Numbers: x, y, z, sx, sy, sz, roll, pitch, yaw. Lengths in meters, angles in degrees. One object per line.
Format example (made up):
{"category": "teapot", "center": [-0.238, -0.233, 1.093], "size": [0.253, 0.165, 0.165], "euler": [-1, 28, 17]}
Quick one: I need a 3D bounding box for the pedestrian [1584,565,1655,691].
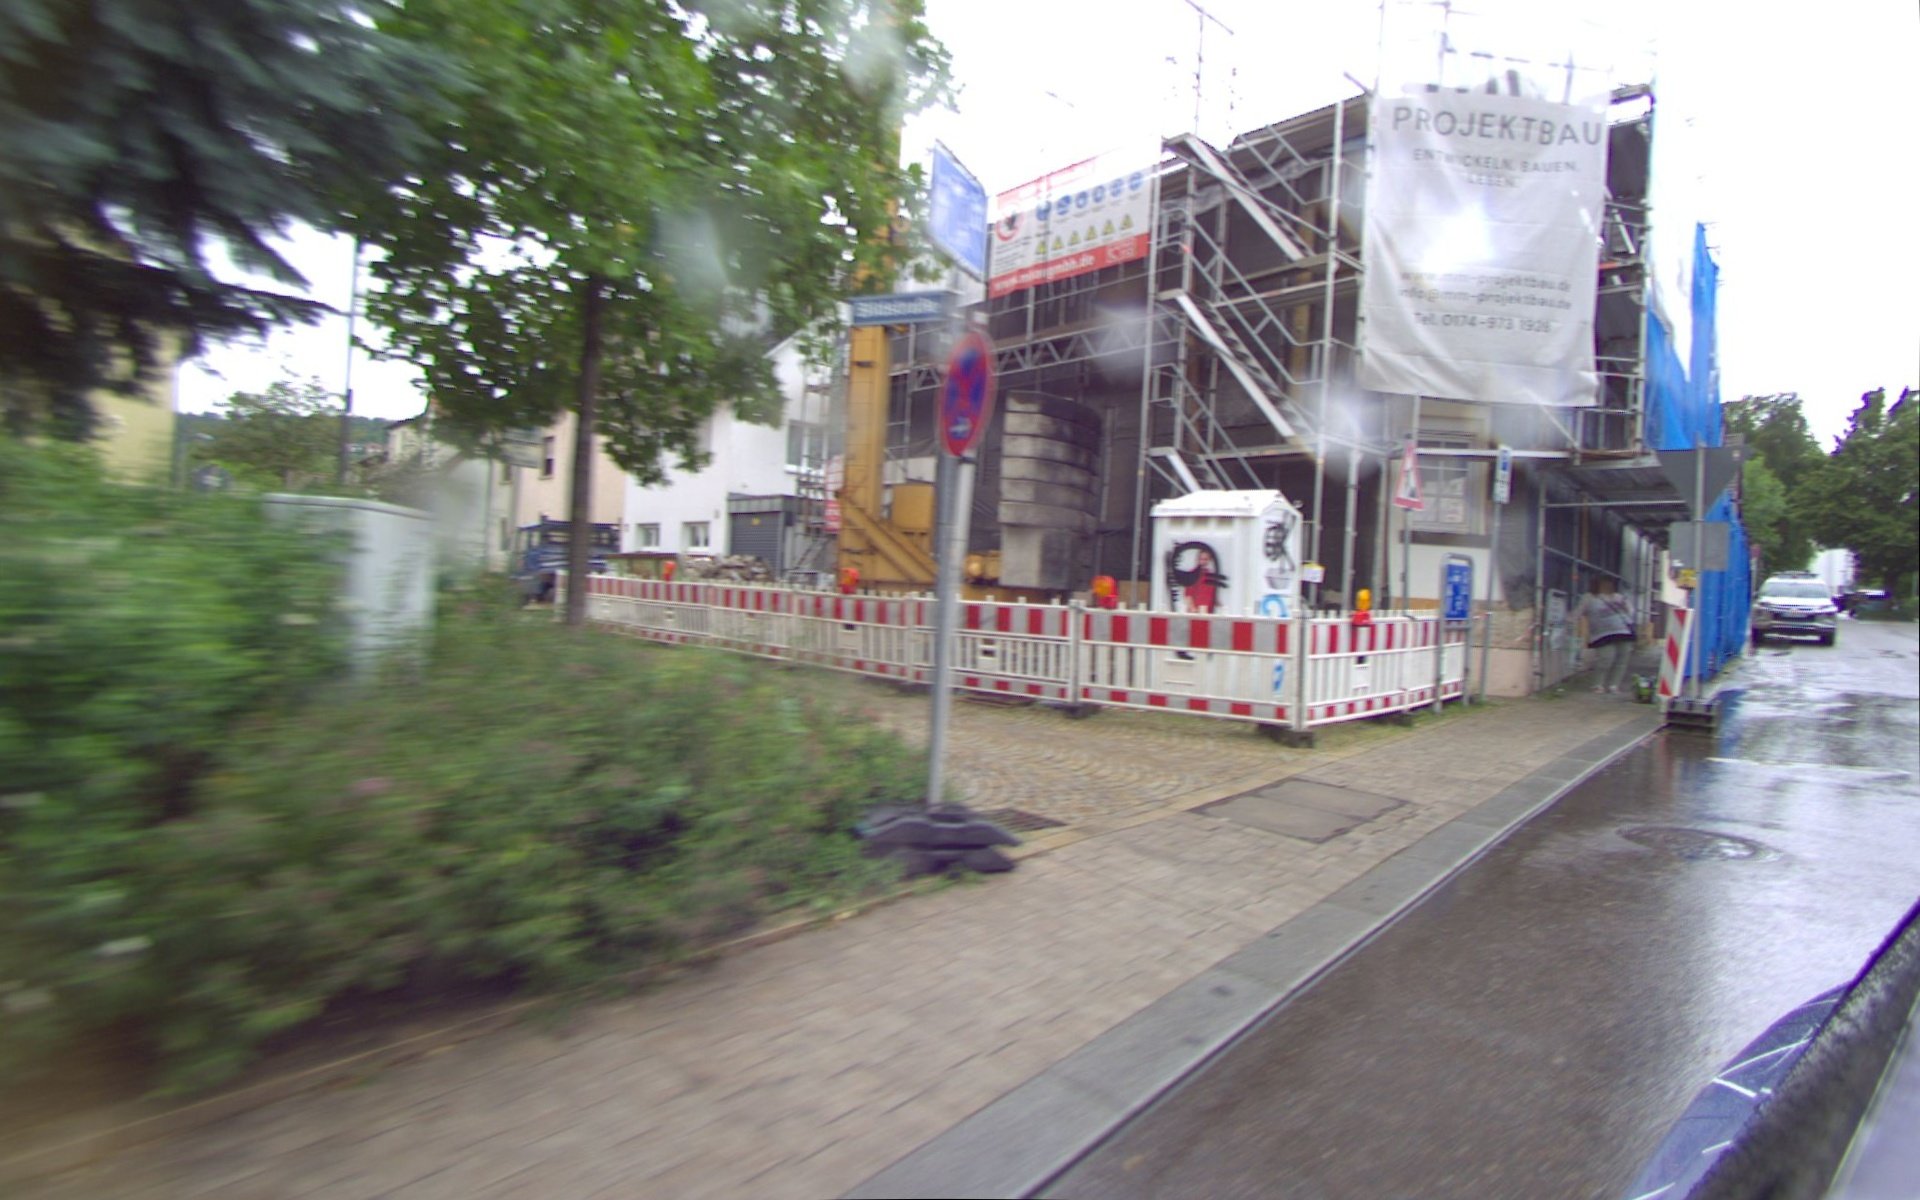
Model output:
{"category": "pedestrian", "center": [8.785, 0.357, 13.478], "size": [0.653, 1.600, 0.430], "euler": [5, 3, 41]}

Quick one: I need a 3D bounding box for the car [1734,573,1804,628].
{"category": "car", "center": [29.183, -0.034, 36.612], "size": [1.819, 1.819, 4.456], "euler": [3, 2, 37]}

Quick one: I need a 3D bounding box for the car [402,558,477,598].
{"category": "car", "center": [-17.802, -0.763, 34.545], "size": [1.438, 1.305, 3.613], "euler": [0, 2, -41]}

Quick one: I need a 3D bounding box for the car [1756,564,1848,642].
{"category": "car", "center": [23.724, 0.037, 28.495], "size": [1.821, 2.000, 4.450], "euler": [3, 2, 41]}

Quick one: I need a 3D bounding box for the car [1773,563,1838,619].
{"category": "car", "center": [34.066, -0.382, 40.843], "size": [1.701, 2.128, 3.889], "euler": [1, 1, 36]}

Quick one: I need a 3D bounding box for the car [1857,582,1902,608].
{"category": "car", "center": [57.890, -0.324, 63.759], "size": [1.701, 1.536, 3.544], "euler": [3, 2, 37]}

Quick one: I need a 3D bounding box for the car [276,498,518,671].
{"category": "car", "center": [-6.746, -0.221, 11.926], "size": [1.577, 1.699, 3.932], "euler": [4, 0, -42]}
